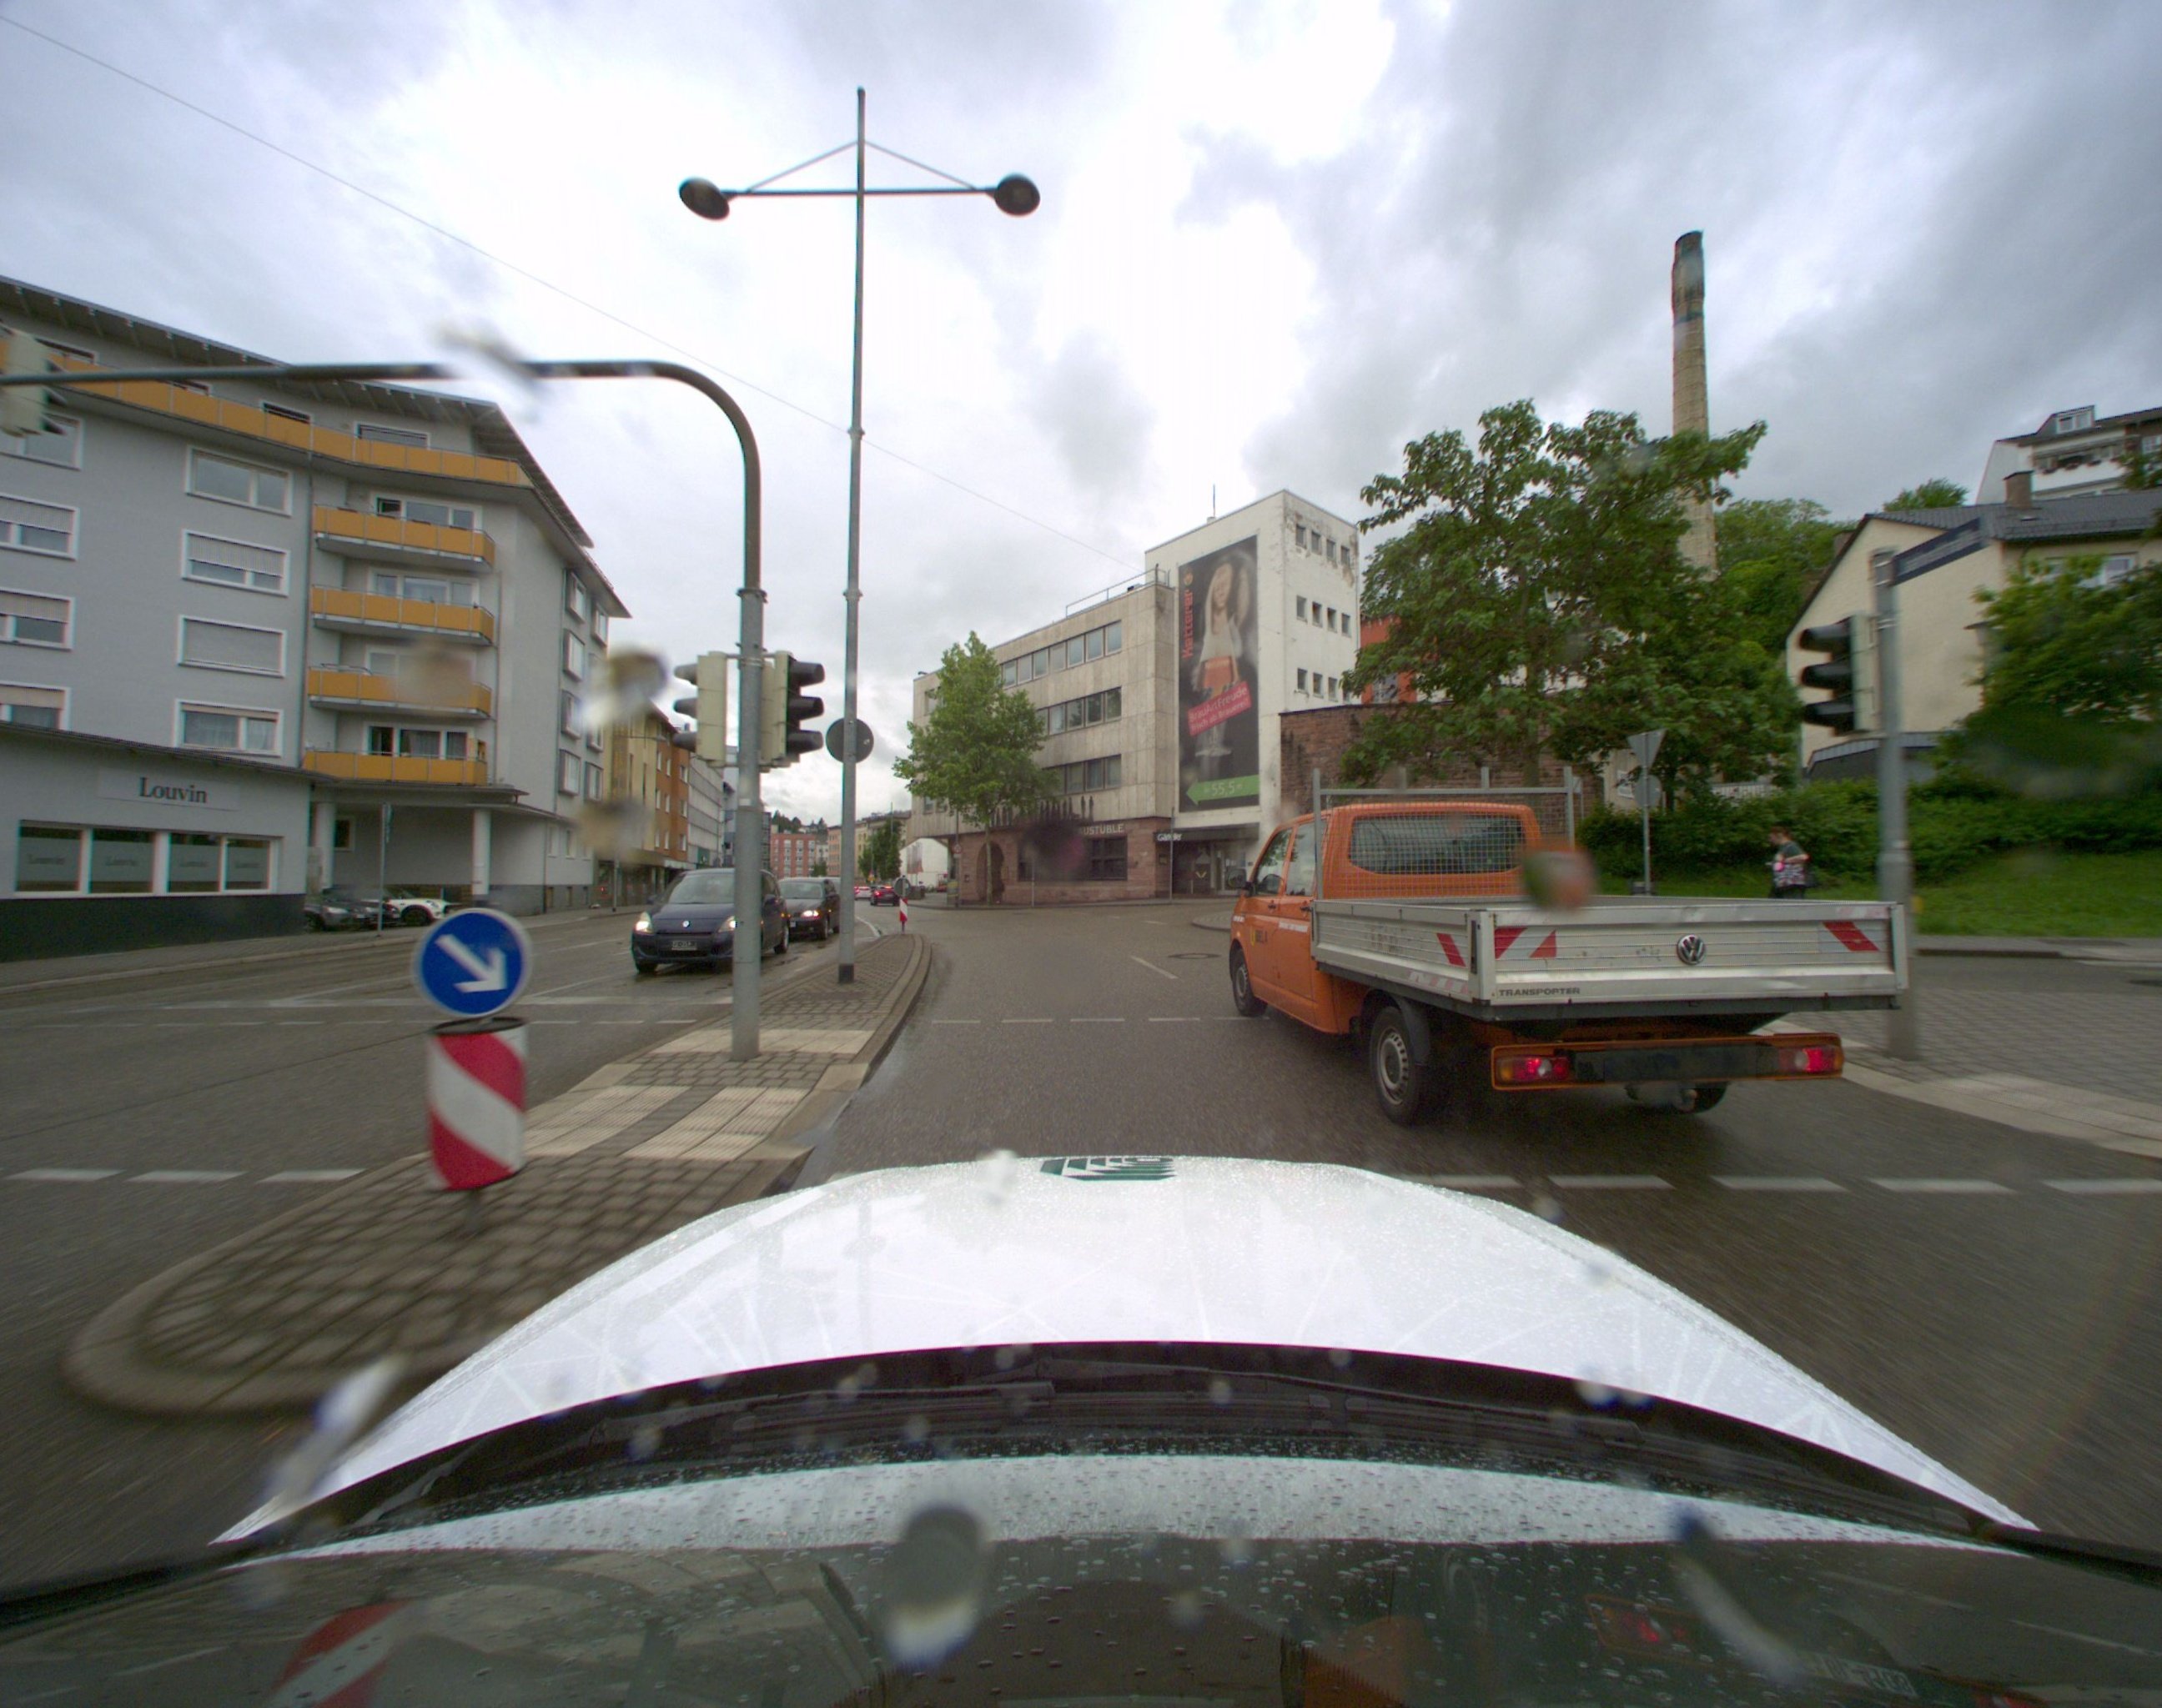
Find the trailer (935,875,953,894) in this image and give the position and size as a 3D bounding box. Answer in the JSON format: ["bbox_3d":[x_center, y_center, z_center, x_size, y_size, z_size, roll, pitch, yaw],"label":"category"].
[{"bbox_3d":[-20.310,4.459,120.461,2.131,2.716,5.362,-2,-2,-15],"label":"trailer"}]

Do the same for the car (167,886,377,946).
[{"bbox_3d":[-22.910,1.749,23.258,3.822,1.421,1.786,-2,-3,-18],"label":"car"}]

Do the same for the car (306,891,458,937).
[{"bbox_3d":[-23.933,2.032,28.010,3.635,1.338,1.485,-2,-2,-20],"label":"car"}]

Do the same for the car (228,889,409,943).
[{"bbox_3d":[-23.744,1.899,25.517,3.766,1.421,1.628,-2,-2,-18],"label":"car"}]

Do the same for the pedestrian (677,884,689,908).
[{"bbox_3d":[-31.015,3.274,63.490,0.576,1.789,0.822,5,-5,-17],"label":"pedestrian"}]

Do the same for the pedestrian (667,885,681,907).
[{"bbox_3d":[-31.637,3.265,63.308,0.631,1.676,0.902,5,-5,-18],"label":"pedestrian"}]

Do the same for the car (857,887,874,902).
[{"bbox_3d":[-22.497,4.214,84.790,1.668,1.396,3.846,-1,-1,-16],"label":"car"}]

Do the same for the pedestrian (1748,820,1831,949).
[{"bbox_3d":[10.419,0.446,12.006,0.685,1.830,0.748,-4,-1,28],"label":"pedestrian"}]

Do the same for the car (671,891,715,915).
[{"bbox_3d":[-23.441,2.997,49.297,1.732,1.367,4.086,0,-4,-16],"label":"car"}]

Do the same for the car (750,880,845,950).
[{"bbox_3d":[-6.624,1.362,19.383,1.556,1.398,3.713,-1,-1,-11],"label":"car"}]

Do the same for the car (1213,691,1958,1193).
[{"bbox_3d":[2.609,0.488,6.222,2.096,2.090,5.535,1,-2,-2],"label":"car"}]

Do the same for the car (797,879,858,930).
[{"bbox_3d":[-7.858,1.527,25.518,1.647,1.453,3.968,1,-2,-15],"label":"car"}]

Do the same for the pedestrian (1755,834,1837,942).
[{"bbox_3d":[11.005,0.520,12.561,0.698,1.599,0.605,-4,-2,22],"label":"pedestrian"}]

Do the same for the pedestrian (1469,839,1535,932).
[{"bbox_3d":[7.996,0.585,15.478,0.951,1.686,0.576,-1,1,43],"label":"pedestrian"}]

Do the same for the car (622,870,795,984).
[{"bbox_3d":[-6.170,1.112,14.019,1.756,1.614,4.194,-1,-1,-11],"label":"car"}]

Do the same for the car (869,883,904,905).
[{"bbox_3d":[-13.789,2.805,57.571,1.796,1.403,4.600,-3,-1,-21],"label":"car"}]
